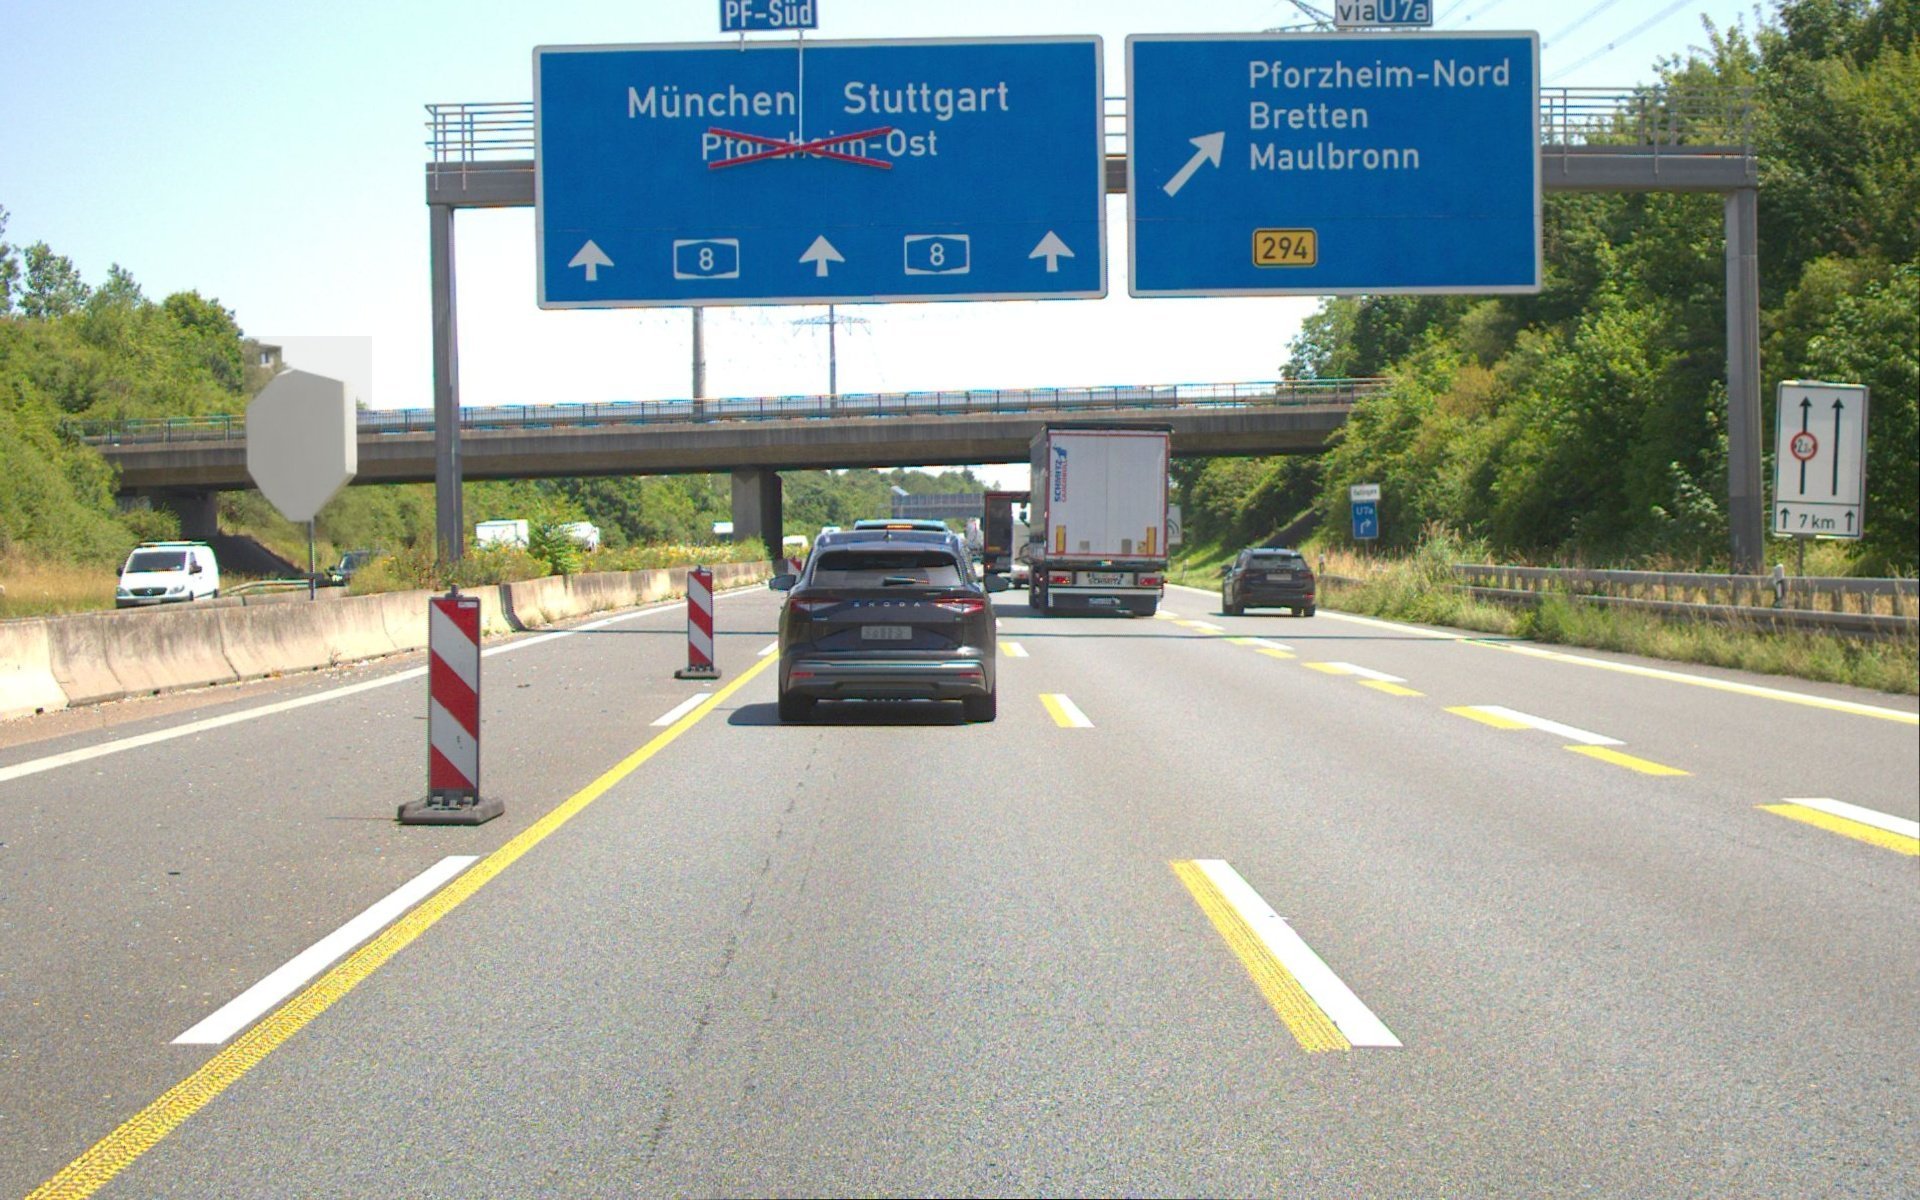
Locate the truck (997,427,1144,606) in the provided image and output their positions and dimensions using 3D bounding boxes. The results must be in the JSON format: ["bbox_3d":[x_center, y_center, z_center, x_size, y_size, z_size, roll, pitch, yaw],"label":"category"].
[{"bbox_3d":[2.575,-1.990,82.662,3.024,4.073,7.796,0,1,-2],"label":"truck"}]

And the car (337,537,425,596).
[{"bbox_3d":[-17.160,-1.009,102.048,1.872,1.688,4.498,-1,1,0],"label":"car"}]

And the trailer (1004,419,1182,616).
[{"bbox_3d":[2.795,-1.799,75.988,3.065,4.028,11.489,0,1,-2],"label":"trailer"}]

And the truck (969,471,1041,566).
[{"bbox_3d":[2.035,-3.680,157.051,3.078,4.132,13.054,1,1,0],"label":"truck"}]

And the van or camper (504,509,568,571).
[{"bbox_3d":[-22.139,-3.162,179.713,2.435,3.136,7.627,-1,1,-1],"label":"van or camper"}]

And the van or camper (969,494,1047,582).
[{"bbox_3d":[1.672,-2.178,120.481,2.586,2.958,6.085,1,1,0],"label":"van or camper"}]

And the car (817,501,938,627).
[{"bbox_3d":[-1.355,-0.630,56.507,1.895,1.835,4.444,0,3,-1],"label":"car"}]

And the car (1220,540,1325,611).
[{"bbox_3d":[6.802,-0.563,75.226,1.779,1.484,4.464,1,1,-1],"label":"car"}]

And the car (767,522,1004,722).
[{"bbox_3d":[-0.664,0.128,29.950,1.895,1.586,4.443,1,1,-2],"label":"car"}]

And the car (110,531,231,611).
[{"bbox_3d":[-20.703,-0.794,90.346,1.930,2.007,5.597,-1,1,-1],"label":"car"}]
